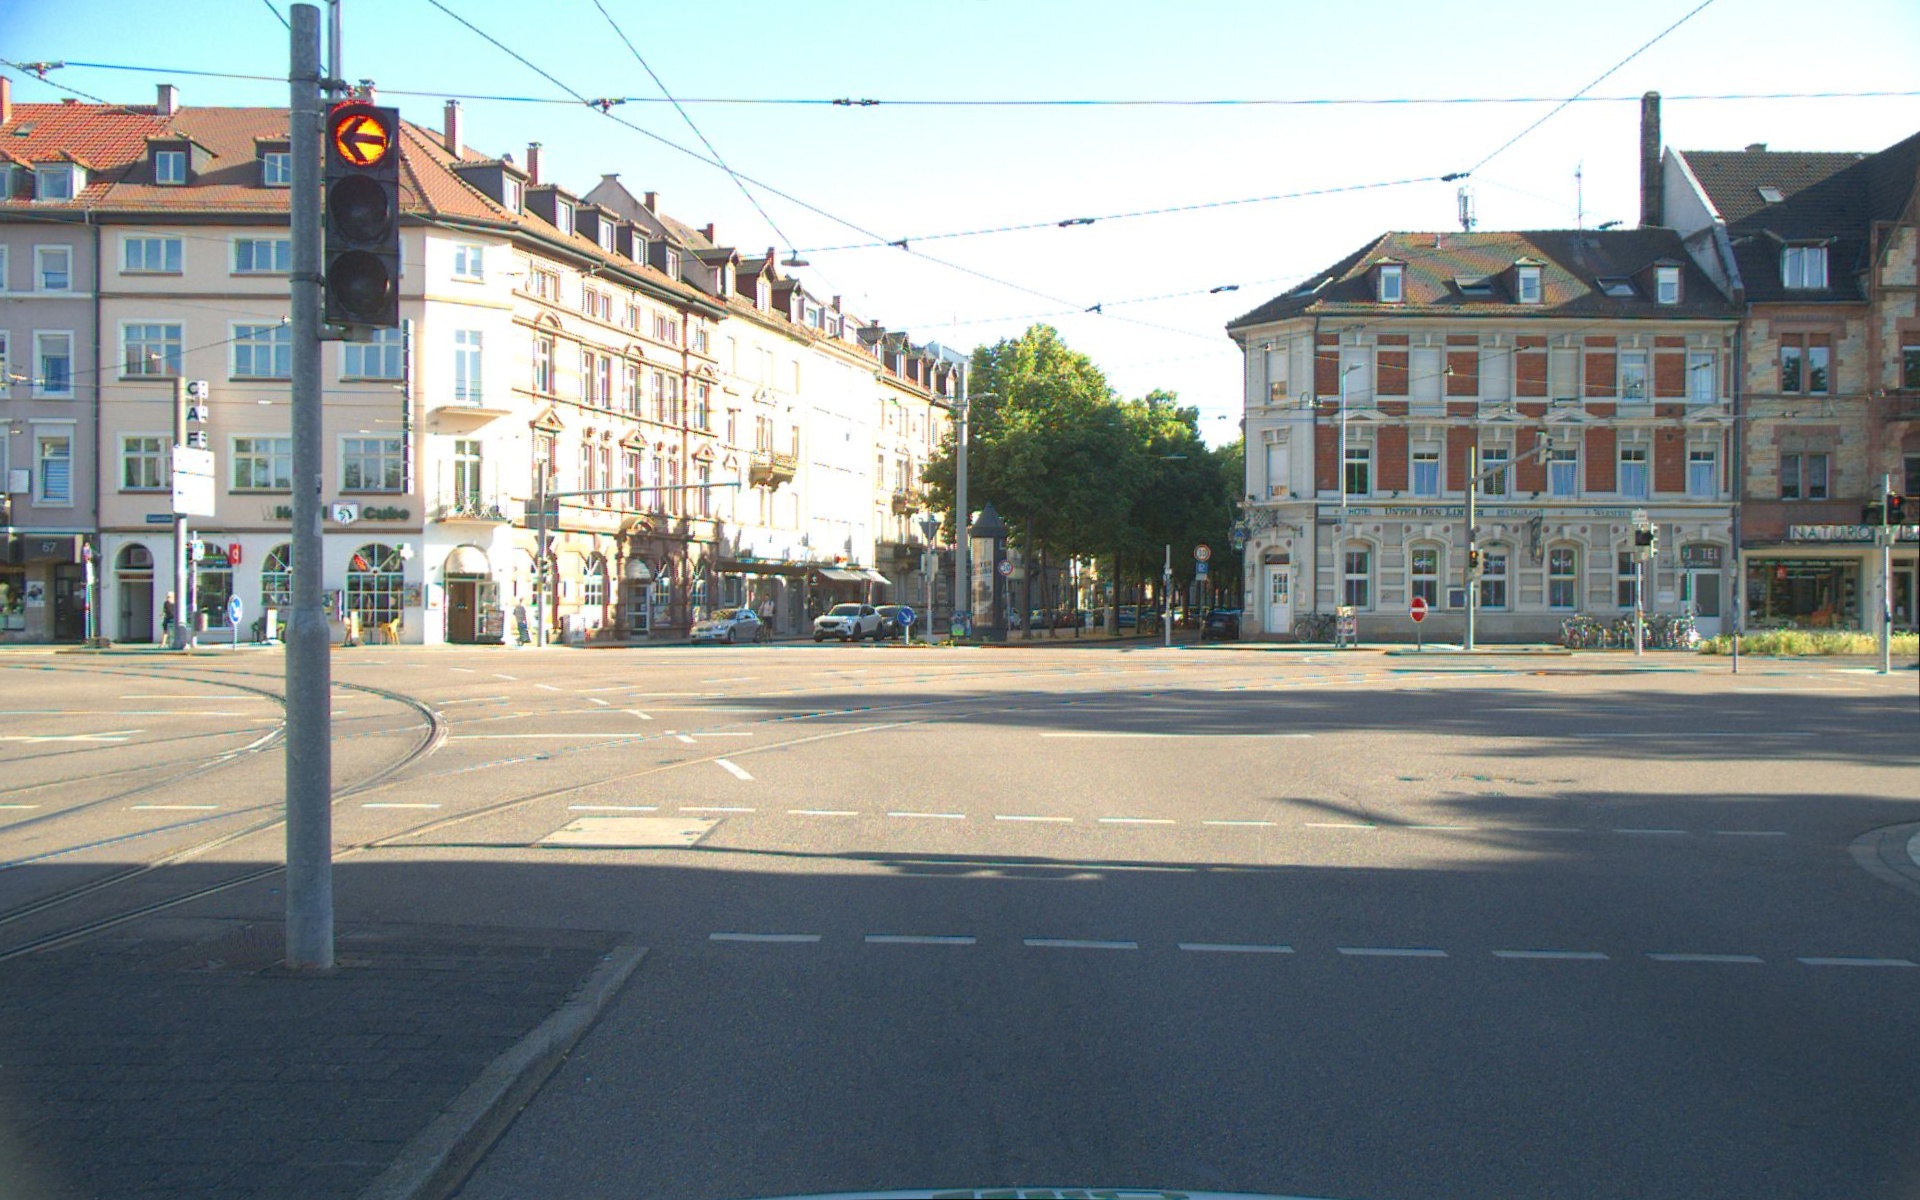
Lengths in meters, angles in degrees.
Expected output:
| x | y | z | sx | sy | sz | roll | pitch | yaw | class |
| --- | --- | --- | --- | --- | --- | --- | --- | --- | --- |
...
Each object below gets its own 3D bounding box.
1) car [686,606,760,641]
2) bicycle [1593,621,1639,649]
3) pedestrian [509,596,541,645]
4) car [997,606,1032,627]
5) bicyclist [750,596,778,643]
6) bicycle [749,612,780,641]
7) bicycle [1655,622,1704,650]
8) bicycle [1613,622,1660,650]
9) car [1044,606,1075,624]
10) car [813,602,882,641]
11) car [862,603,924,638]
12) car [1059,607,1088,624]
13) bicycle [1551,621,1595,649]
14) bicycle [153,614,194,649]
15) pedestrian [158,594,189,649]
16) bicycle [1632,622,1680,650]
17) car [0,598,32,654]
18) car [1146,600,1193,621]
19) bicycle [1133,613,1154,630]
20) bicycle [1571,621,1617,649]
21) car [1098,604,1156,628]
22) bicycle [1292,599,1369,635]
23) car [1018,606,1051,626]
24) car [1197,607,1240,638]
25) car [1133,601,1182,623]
| x | y | z | sx | sy | sz | roll | pitch | yaw | class |
| --- | --- | --- | --- | --- | --- | --- | --- | --- | --- |
| -9.540 | 0.930 | 66.752 | 1.642 | 1.378 | 3.593 | 0 | 0 | 16 | car |
| 21.194 | 1.135 | 53.478 | 0.645 | 0.855 | 2.160 | 1 | 0 | 0 | bicycle |
| -15.271 | 0.714 | 58.050 | 0.759 | 1.699 | 0.831 | 1 | -1 | 15 | pedestrian |
| 3.818 | 1.153 | 115.523 | 1.642 | 1.378 | 3.593 | 0 | 0 | 16 | car |
| -7.714 | 0.763 | 65.012 | 0.761 | 1.834 | 1.056 | 1 | -1 | 13 | bicyclist |
| -7.680 | 1.044 | 65.134 | 0.687 | 1.137 | 1.636 | 1 | 0 | 13 | bicycle |
| 23.281 | 1.171 | 53.537 | 0.645 | 0.855 | 2.160 | 1 | 0 | 0 | bicycle |
| 21.865 | 1.146 | 53.512 | 0.645 | 0.855 | 2.160 | 1 | 0 | 0 | bicycle |
| 7.887 | 1.209 | 130.853 | 1.642 | 1.378 | 3.593 | 0 | 0 | 16 | car |
| -4.535 | 0.841 | 67.234 | 1.642 | 1.509 | 3.774 | 0 | 0 | 16 | car |
| -2.948 | 0.884 | 73.559 | 1.642 | 1.509 | 3.950 | 0 | 0 | 16 | car |
| 9.312 | 1.245 | 135.904 | 1.642 | 1.378 | 3.593 | 0 | 0 | 16 | car |
| 19.763 | 1.110 | 53.377 | 0.645 | 0.855 | 2.160 | 1 | 0 | 0 | bicycle |
| -24.775 | 0.983 | 52.111 | 0.561 | 1.096 | 1.497 | 1 | 0 | -1 | bicycle |
| -24.770 | 0.683 | 52.106 | 0.570 | 1.699 | 0.752 | 1 | -1 | -1 | pedestrian |
| 22.492 | 1.157 | 53.492 | 0.645 | 0.855 | 2.160 | 1 | 0 | 0 | bicycle |
| -32.150 | 0.785 | 52.262 | 4.276 | 1.741 | 2.306 | 1 | 0 | 1 | car |
| 16.936 | 0.880 | 133.756 | 3.503 | 1.677 | 1.684 | 0 | 0 | 16 | car |
| 11.049 | 1.293 | 99.636 | 0.625 | 1.039 | 1.840 | 1 | 0 | -14 | bicycle |
| 20.482 | 1.122 | 53.465 | 0.645 | 0.855 | 2.160 | 1 | 0 | 0 | bicycle |
| 11.710 | 1.112 | 115.843 | 3.819 | 1.677 | 1.684 | 0 | 0 | 16 | car |
| 12.868 | 0.590 | 57.467 | 2.504 | 1.194 | 0.818 | 1 | -1 | -4 | bicycle |
| 5.529 | 1.176 | 122.510 | 1.642 | 1.378 | 3.593 | 0 | 0 | 16 | car |
| 12.957 | 1.105 | 82.758 | 1.642 | 1.509 | 3.950 | 0 | 0 | 16 | car |
| 15.315 | 0.955 | 128.256 | 3.503 | 1.677 | 1.684 | 0 | 0 | 16 | car |
